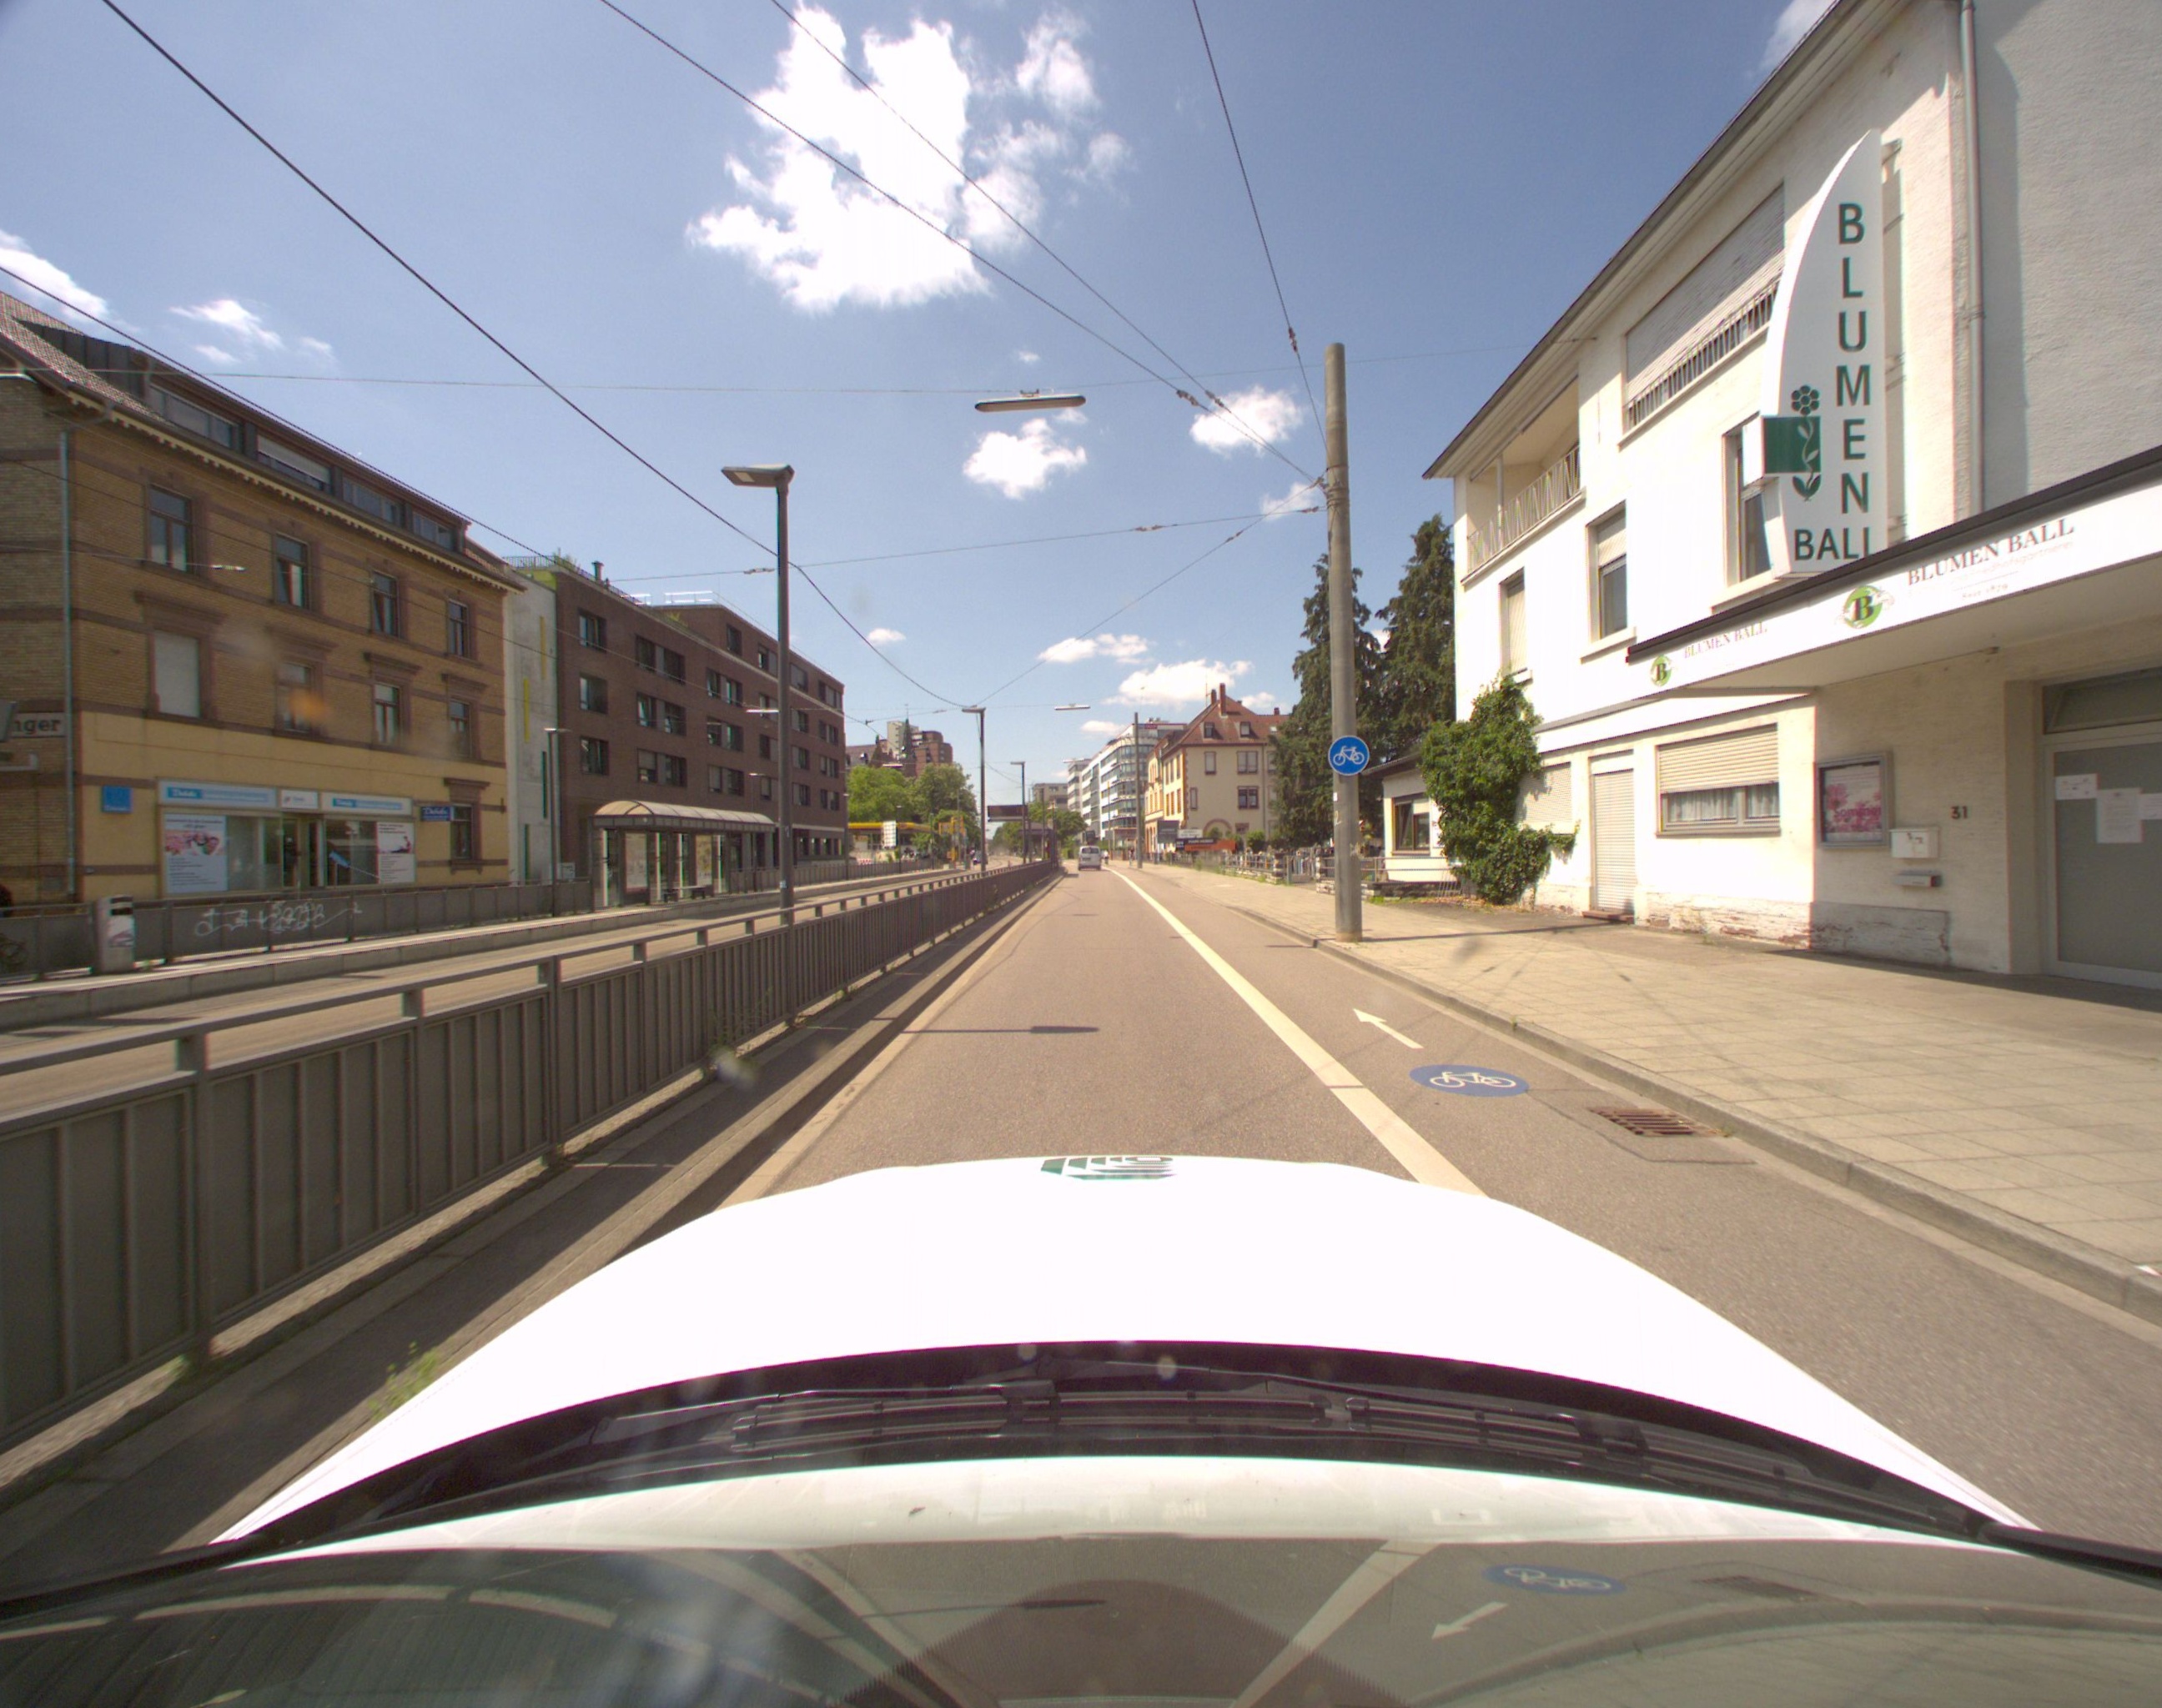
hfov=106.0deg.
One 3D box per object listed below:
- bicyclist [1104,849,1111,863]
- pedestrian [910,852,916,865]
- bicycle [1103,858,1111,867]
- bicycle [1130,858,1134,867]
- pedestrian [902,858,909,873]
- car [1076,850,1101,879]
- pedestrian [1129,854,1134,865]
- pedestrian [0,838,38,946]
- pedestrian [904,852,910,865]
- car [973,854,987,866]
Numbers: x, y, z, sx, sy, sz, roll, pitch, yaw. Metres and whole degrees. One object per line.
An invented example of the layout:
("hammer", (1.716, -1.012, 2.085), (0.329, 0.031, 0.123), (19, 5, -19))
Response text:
("bicyclist", (2.624, 0.241, 81.834), (0.590, 1.397, 0.840), (-1, 0, -6))
("pedestrian", (-21.955, 0.567, 106.469), (0.578, 1.671, 0.667), (-1, -1, 1))
("bicycle", (2.619, 0.814, 81.897), (0.465, 0.887, 2.044), (-1, 0, -6))
("bicycle", (4.971, 0.832, 79.284), (0.355, 0.940, 1.318), (-3, -1, 2))
("pedestrian", (-16.856, 1.112, 78.303), (0.434, 1.384, 0.536), (-3, -1, 1))
("car", (0.544, 0.779, 62.344), (1.747, 2.013, 4.000), (-2, 1, 0))
("pedestrian", (4.930, 0.528, 79.307), (0.481, 1.053, 0.537), (-3, -1, 1))
("pedestrian", (-20.386, 0.709, 15.285), (0.675, 2.014, 0.684), (0, -1, -1))
("pedestrian", (-22.590, 0.560, 105.666), (0.551, 1.658, 0.672), (-1, -1, 0))
("car", (-13.988, 0.765, 112.662), (1.695, 1.616, 3.753), (-1, 0, -3))
